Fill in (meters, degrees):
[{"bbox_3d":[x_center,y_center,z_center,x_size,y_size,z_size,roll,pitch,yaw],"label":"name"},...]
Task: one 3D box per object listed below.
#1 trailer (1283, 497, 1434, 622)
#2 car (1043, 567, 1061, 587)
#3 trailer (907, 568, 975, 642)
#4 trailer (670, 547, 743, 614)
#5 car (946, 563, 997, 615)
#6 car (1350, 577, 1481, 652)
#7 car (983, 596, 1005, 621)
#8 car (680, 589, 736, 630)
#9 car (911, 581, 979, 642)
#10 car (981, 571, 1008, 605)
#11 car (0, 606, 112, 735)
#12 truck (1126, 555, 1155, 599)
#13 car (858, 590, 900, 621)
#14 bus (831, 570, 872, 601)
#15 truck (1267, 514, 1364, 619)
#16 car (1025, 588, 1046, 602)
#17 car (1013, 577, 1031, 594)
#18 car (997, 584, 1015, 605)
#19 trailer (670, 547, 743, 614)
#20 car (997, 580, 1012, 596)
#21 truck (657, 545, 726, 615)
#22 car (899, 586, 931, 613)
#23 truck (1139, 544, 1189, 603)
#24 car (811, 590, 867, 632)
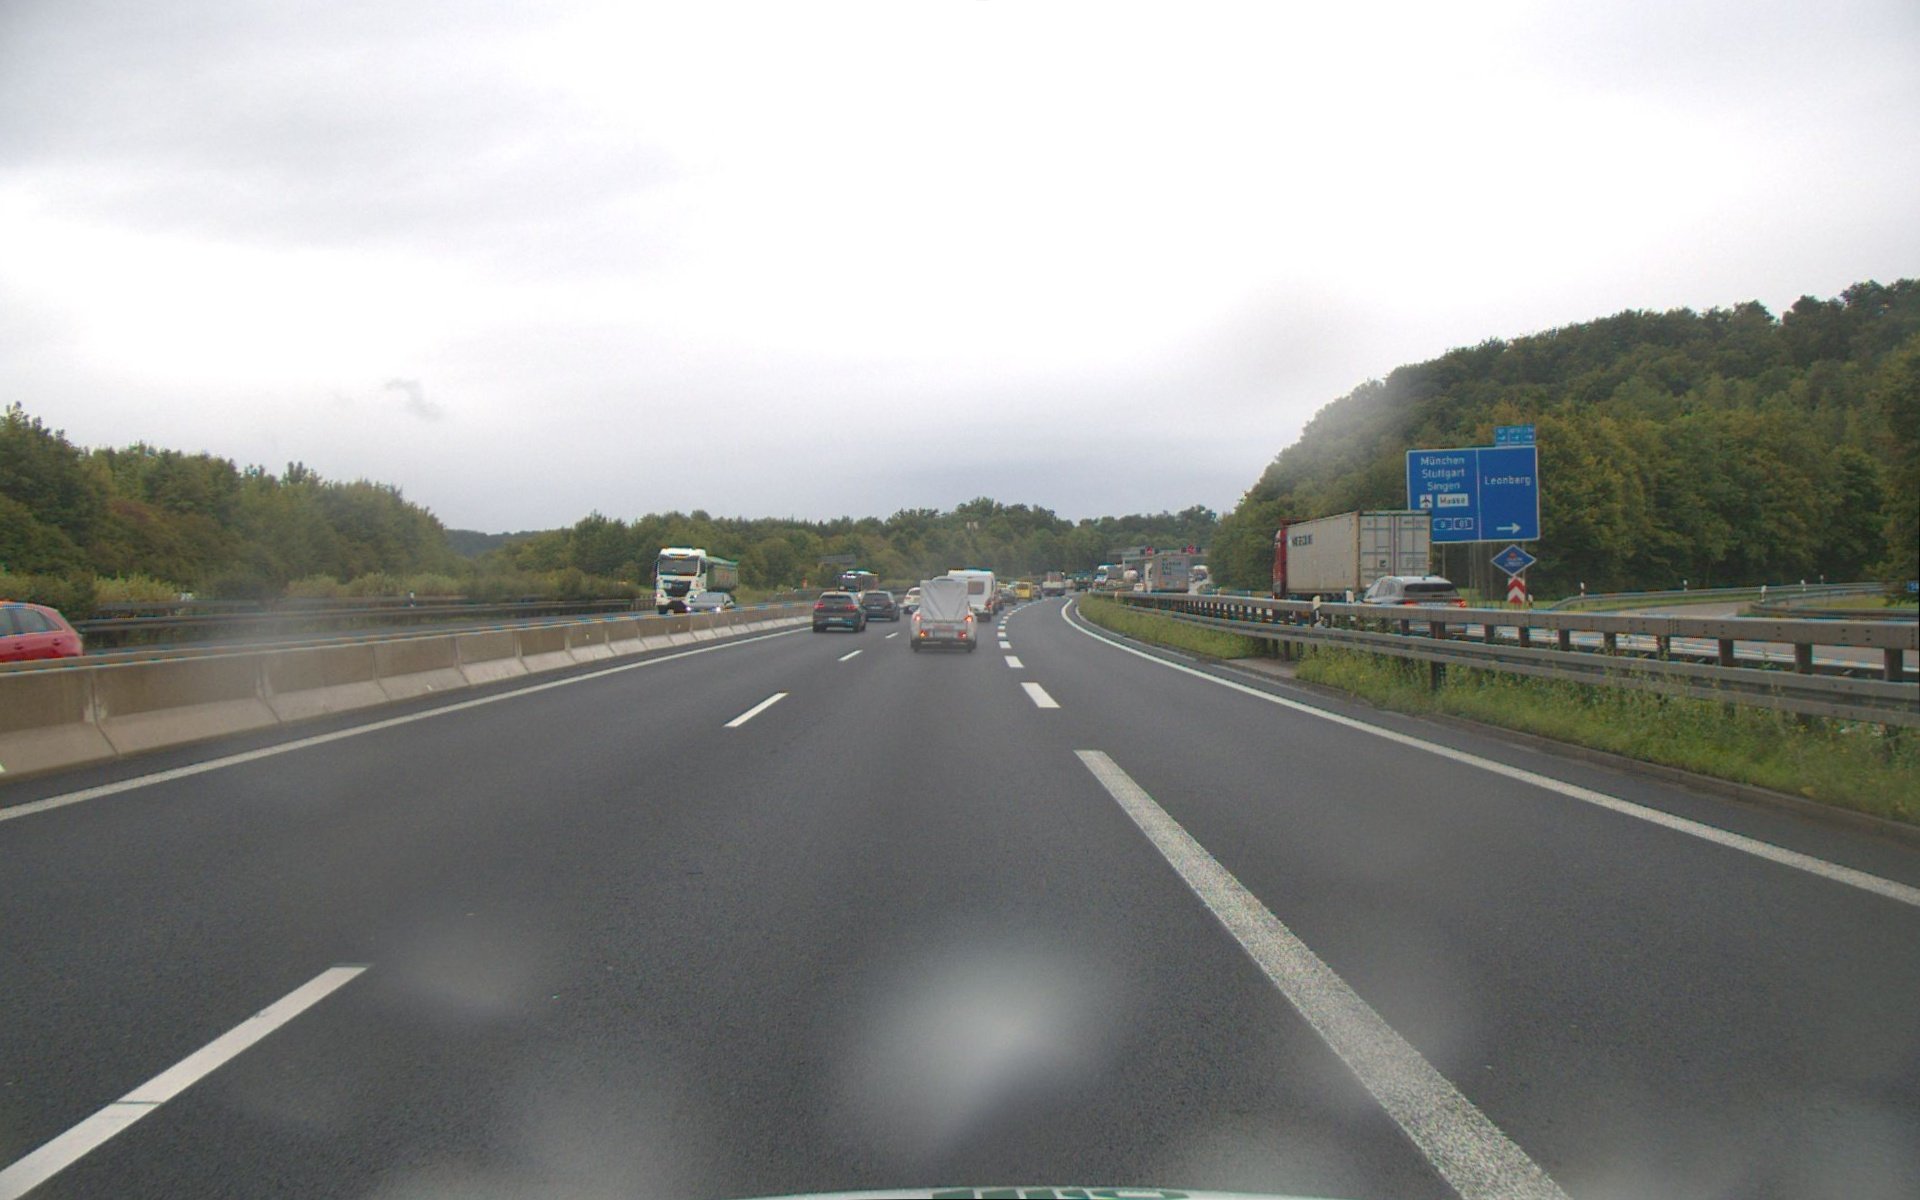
[{"bbox_3d":[13.843,-1.272,58.680,2.550,3.962,12.492,0,0,1],"label":"trailer"},{"bbox_3d":[12.748,-3.193,229.707,2.463,2.619,5.314,0,0,3],"label":"car"},{"bbox_3d":[-0.450,0.128,43.396,1.641,1.844,4.001,0,0,1],"label":"trailer"},{"bbox_3d":[-15.044,-1.093,98.638,2.843,3.814,8.928,0,0,1],"label":"trailer"},{"bbox_3d":[0.639,-0.553,86.801,2.455,2.630,5.701,0,0,2],"label":"car"},{"bbox_3d":[10.463,0.321,38.336,1.733,1.638,4.643,0,0,-1],"label":"car"},{"bbox_3d":[2.562,0.622,124.178,1.641,1.844,4.000,0,0,1],"label":"car"},{"bbox_3d":[-12.054,0.435,79.487,1.856,1.908,4.543,0,0,2],"label":"car"},{"bbox_3d":[-0.377,0.320,47.083,1.781,1.644,4.779,0,0,2],"label":"car"},{"bbox_3d":[2.183,-0.740,105.562,1.641,2.103,4.000,0,0,0],"label":"car"},{"bbox_3d":[-13.007,0.899,21.485,1.771,1.608,4.355,0,0,-1],"label":"car"},{"bbox_3d":[20.220,-2.474,184.687,3.147,4.748,13.042,0,0,7],"label":"truck"},{"bbox_3d":[-3.965,0.257,81.675,1.728,1.481,4.001,0,0,2],"label":"car"},{"bbox_3d":[-11.133,-1.434,170.366,2.642,3.010,11.903,-1,0,4],"label":"bus"},{"bbox_3d":[13.997,-1.271,65.562,2.562,3.952,6.392,0,0,1],"label":"truck"},{"bbox_3d":[9.042,-0.594,197.916,1.994,1.712,4.003,0,0,9],"label":"car"},{"bbox_3d":[6.727,-1.551,178.470,1.640,1.844,4.003,0,0,7],"label":"car"},{"bbox_3d":[4.204,-0.518,150.774,1.641,1.844,4.000,0,0,1],"label":"car"},{"bbox_3d":[-15.044,-1.093,98.638,2.843,3.814,8.928,0,0,1],"label":"trailer"},{"bbox_3d":[5.743,-1.483,213.270,1.952,2.049,4.001,0,0,2],"label":"car"},{"bbox_3d":[-15.107,-1.094,93.352,2.827,3.814,5.945,0,0,1],"label":"truck"},{"bbox_3d":[-2.794,-0.056,104.038,1.738,1.669,4.044,0,0,2],"label":"car"},{"bbox_3d":[17.383,-2.163,141.646,3.149,4.748,13.036,0,0,2],"label":"truck"},{"bbox_3d":[-4.474,0.395,61.581,1.641,1.481,4.001,0,0,2],"label":"car"}]
